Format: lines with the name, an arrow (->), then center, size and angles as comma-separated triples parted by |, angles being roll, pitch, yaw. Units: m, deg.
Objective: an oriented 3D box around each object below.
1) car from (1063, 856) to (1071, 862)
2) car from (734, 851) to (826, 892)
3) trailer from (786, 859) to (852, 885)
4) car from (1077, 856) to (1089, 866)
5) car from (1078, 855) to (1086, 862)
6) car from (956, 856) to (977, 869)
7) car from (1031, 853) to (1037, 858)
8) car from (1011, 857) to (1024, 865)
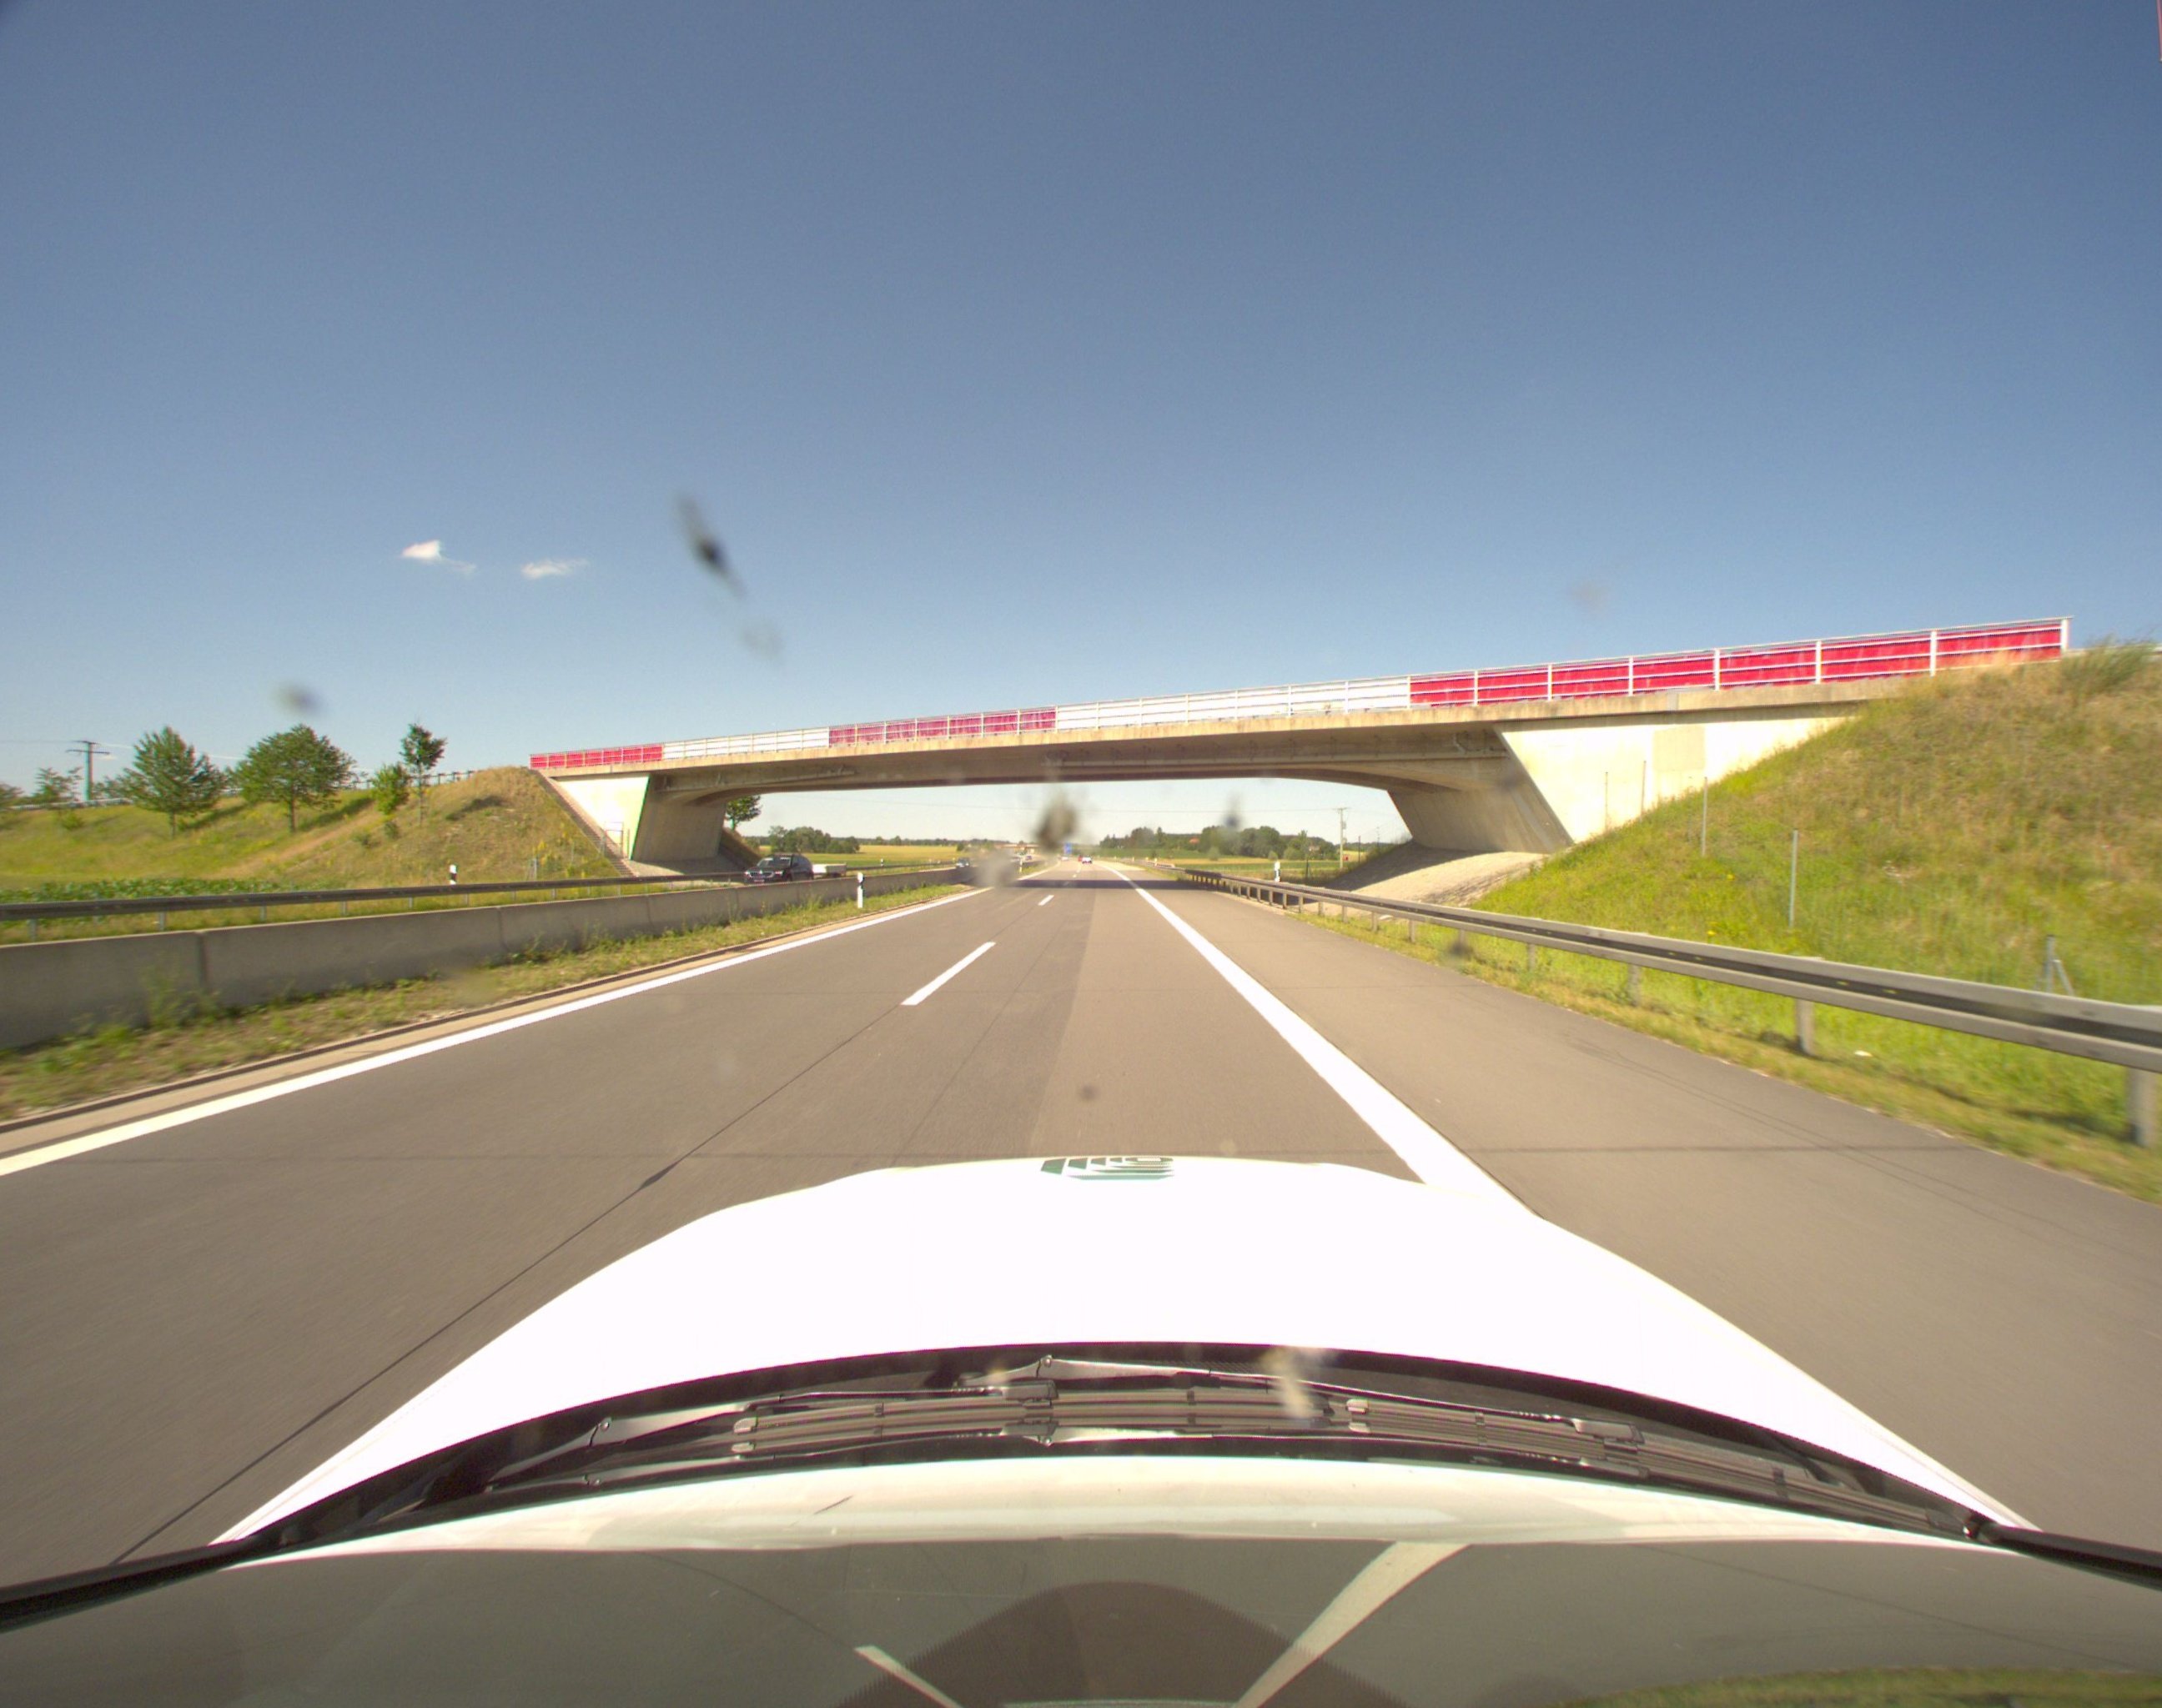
car -> -3.961, 1.357, 230.643 | 1.987, 1.731, 4.868 | 0, 0, 0
car -> -13.660, 0.749, 37.396 | 1.986, 1.731, 5.589 | 0, 0, 1
trailer -> -13.542, 0.903, 42.344 | 1.986, 1.258, 4.263 | 0, 0, 1
car -> 0.427, 1.345, 158.863 | 1.990, 1.731, 4.861 | 0, 0, -5
car -> 0.330, 1.230, 210.297 | 1.988, 1.731, 4.867 | 0, 0, -1
car -> -13.392, 0.941, 95.151 | 1.848, 1.460, 4.195 | 0, 0, 0
car -> -14.626, 0.350, 253.420 | 1.854, 1.514, 4.584 | 1, 0, 0
car -> -12.628, 1.407, 162.436 | 1.987, 1.579, 4.896 | 1, -1, 0
